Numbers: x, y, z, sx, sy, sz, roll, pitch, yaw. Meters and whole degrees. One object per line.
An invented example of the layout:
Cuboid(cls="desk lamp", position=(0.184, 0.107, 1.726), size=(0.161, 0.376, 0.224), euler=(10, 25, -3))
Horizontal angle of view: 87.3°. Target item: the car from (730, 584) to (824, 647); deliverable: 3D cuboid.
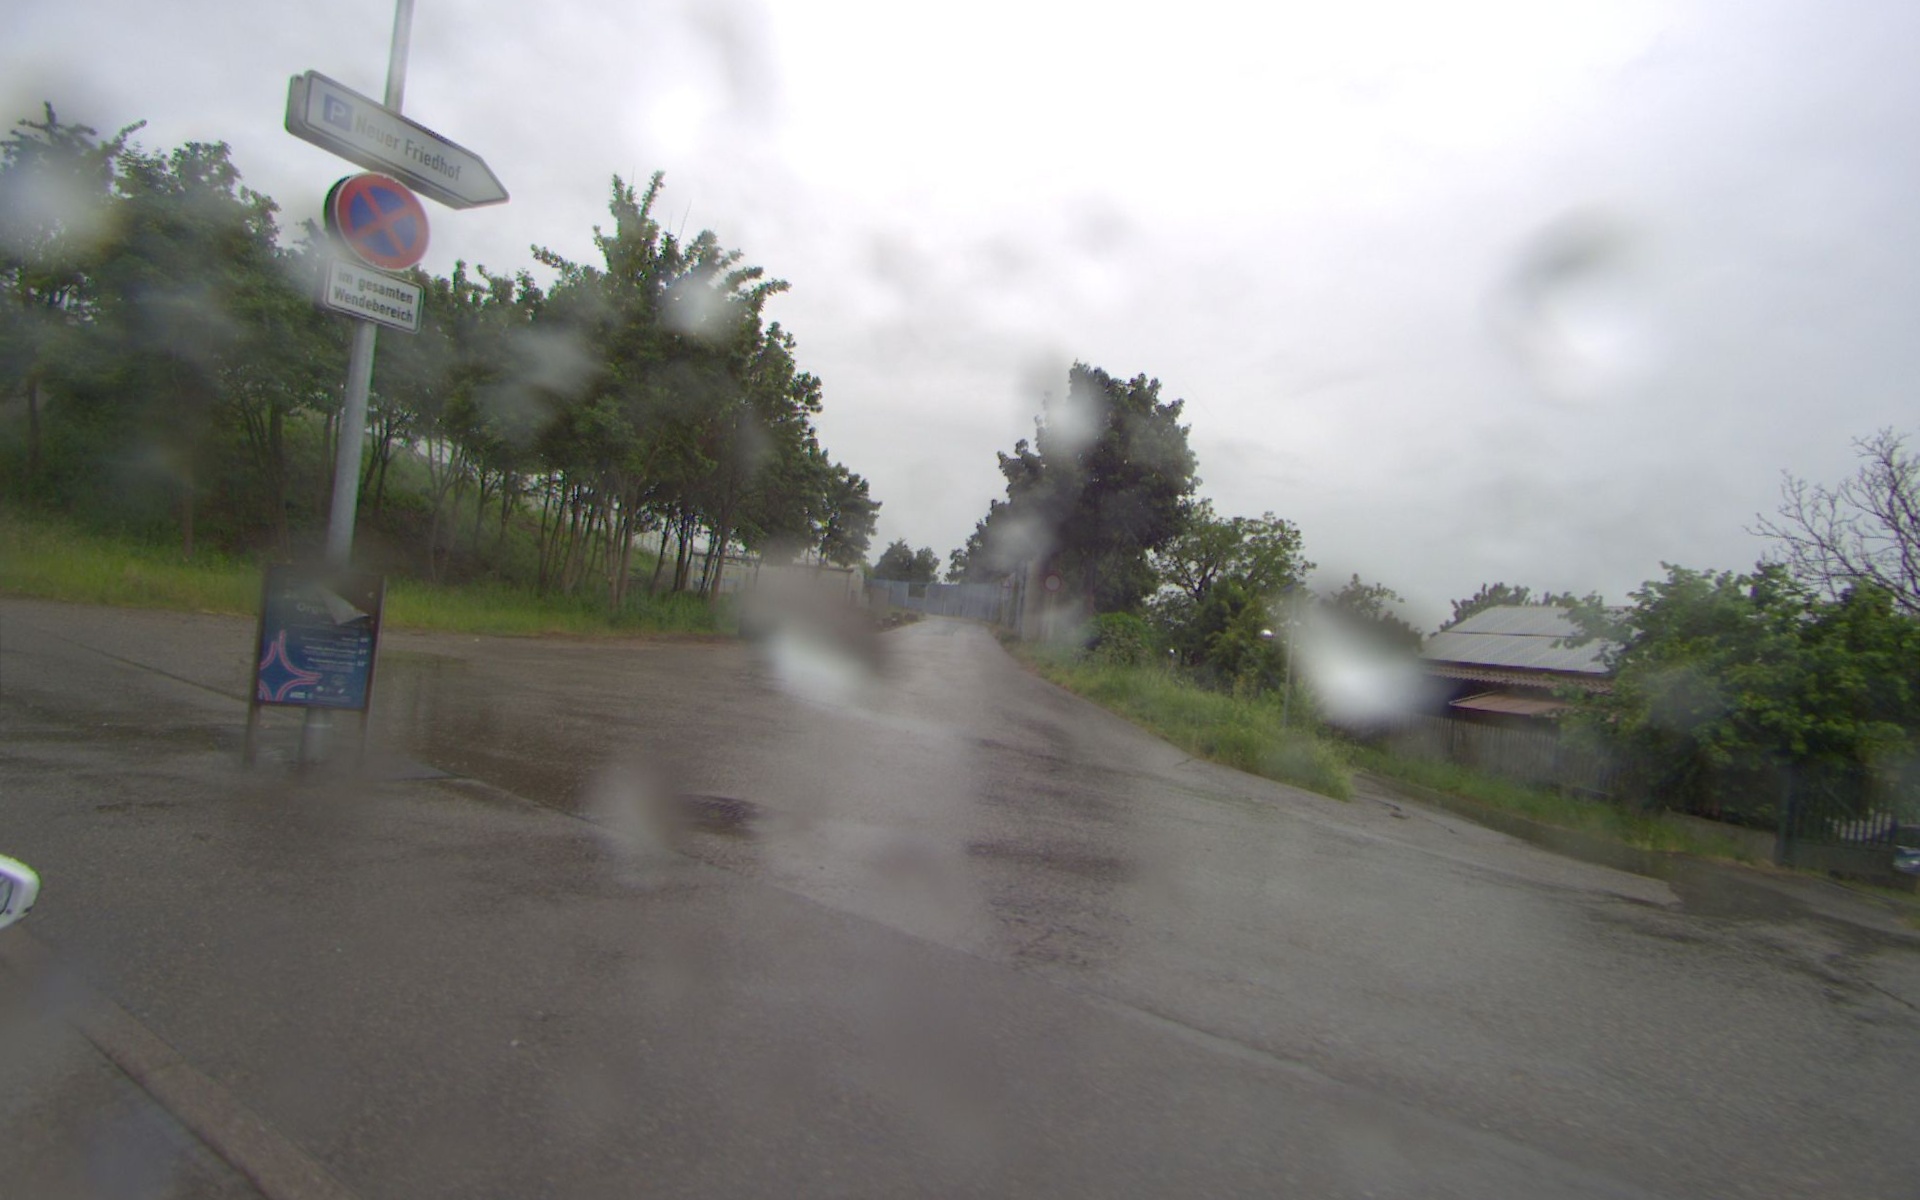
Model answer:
Cuboid(cls="car", position=(-4.976, 0.471, 27.886), size=(1.871, 1.374, 4.113), euler=(8, -3, -3))

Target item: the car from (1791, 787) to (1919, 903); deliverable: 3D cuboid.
Cuboid(cls="car", position=(17.858, 4.607, 18.369), size=(3.936, 1.568, 1.996), euler=(9, 0, -11))
